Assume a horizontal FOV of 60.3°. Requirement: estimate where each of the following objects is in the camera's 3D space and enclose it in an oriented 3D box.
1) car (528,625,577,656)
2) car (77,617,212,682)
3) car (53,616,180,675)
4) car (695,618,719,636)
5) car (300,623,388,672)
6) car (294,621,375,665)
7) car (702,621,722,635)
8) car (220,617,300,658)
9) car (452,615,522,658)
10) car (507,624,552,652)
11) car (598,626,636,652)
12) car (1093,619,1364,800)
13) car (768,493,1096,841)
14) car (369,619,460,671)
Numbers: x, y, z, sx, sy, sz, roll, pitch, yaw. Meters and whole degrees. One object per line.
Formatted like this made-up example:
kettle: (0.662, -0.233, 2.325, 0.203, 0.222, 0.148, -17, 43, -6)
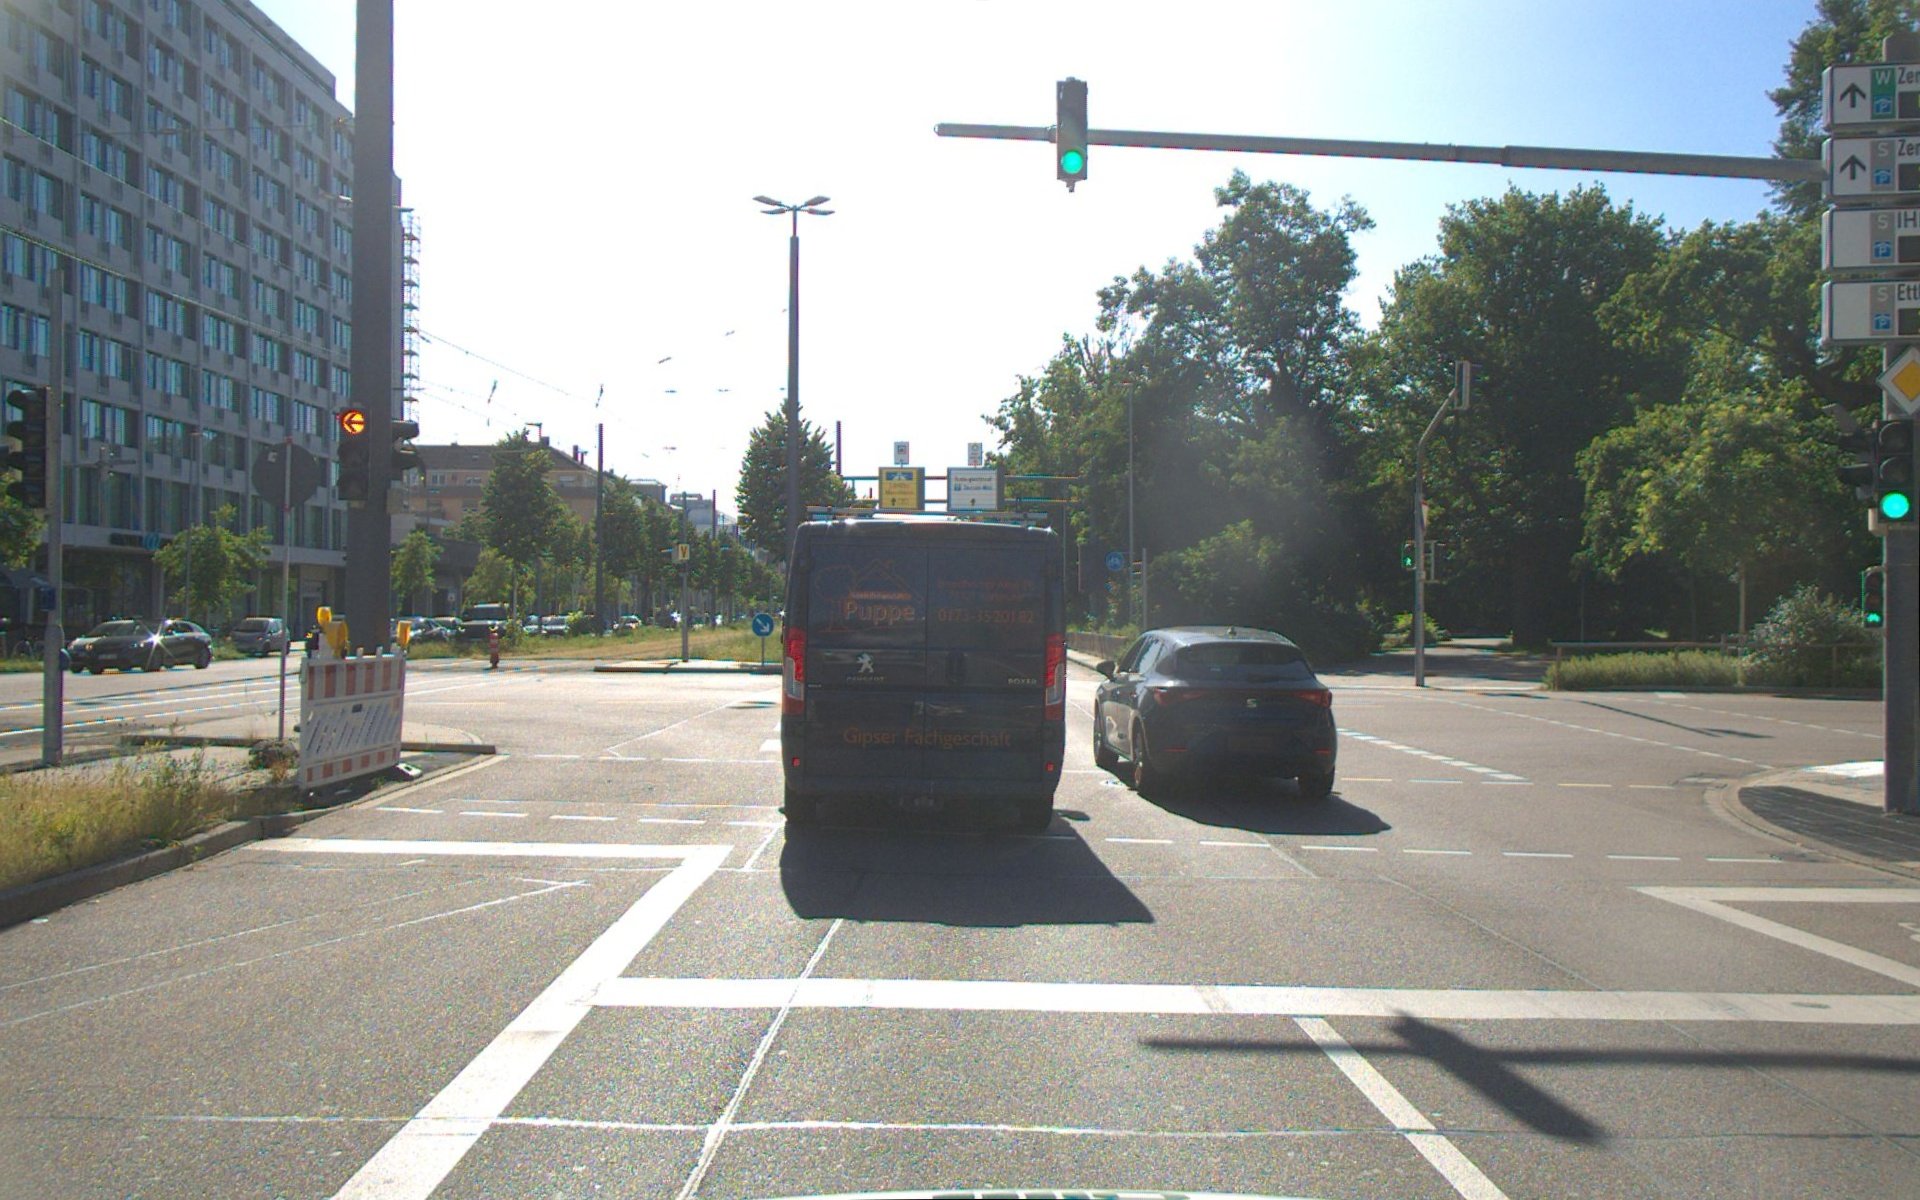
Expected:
car: (-22.833, 2.240, 92.737, 1.754, 1.680, 3.999, 0, -1, -1)
car: (-22.301, 1.313, 45.408, 1.754, 1.680, 3.999, 0, -1, -1)
car: (-25.115, 1.333, 49.387, 1.754, 1.680, 3.999, 0, -1, -1)
car: (-24.780, 2.648, 161.952, 1.754, 1.680, 3.999, 0, -1, -1)
car: (-22.418, 1.706, 60.323, 1.754, 1.680, 3.999, 0, -1, -1)
car: (-25.030, 1.708, 66.310, 1.754, 1.680, 3.999, 0, -1, -1)
car: (-29.270, 3.278, 195.121, 1.754, 1.680, 3.999, 0, -1, -1)
car: (-29.999, 1.596, 71.025, 1.754, 1.680, 3.999, 0, -1, -1)
car: (-19.237, 1.463, 67.417, 1.754, 1.680, 3.999, 0, -1, -1)
car: (-26.594, 2.326, 102.347, 1.754, 1.680, 3.999, 0, -1, -1)
car: (-23.011, 2.618, 111.131, 1.754, 1.680, 3.999, 0, -1, -1)
car: (2.382, 0.932, 15.584, 1.756, 1.453, 3.847, 1, -1, -3)
car: (-0.265, 0.456, 13.446, 2.173, 2.307, 4.482, 1, 0, -2)
car: (-18.799, 1.524, 57.194, 1.754, 1.680, 4.334, 0, -1, -1)
